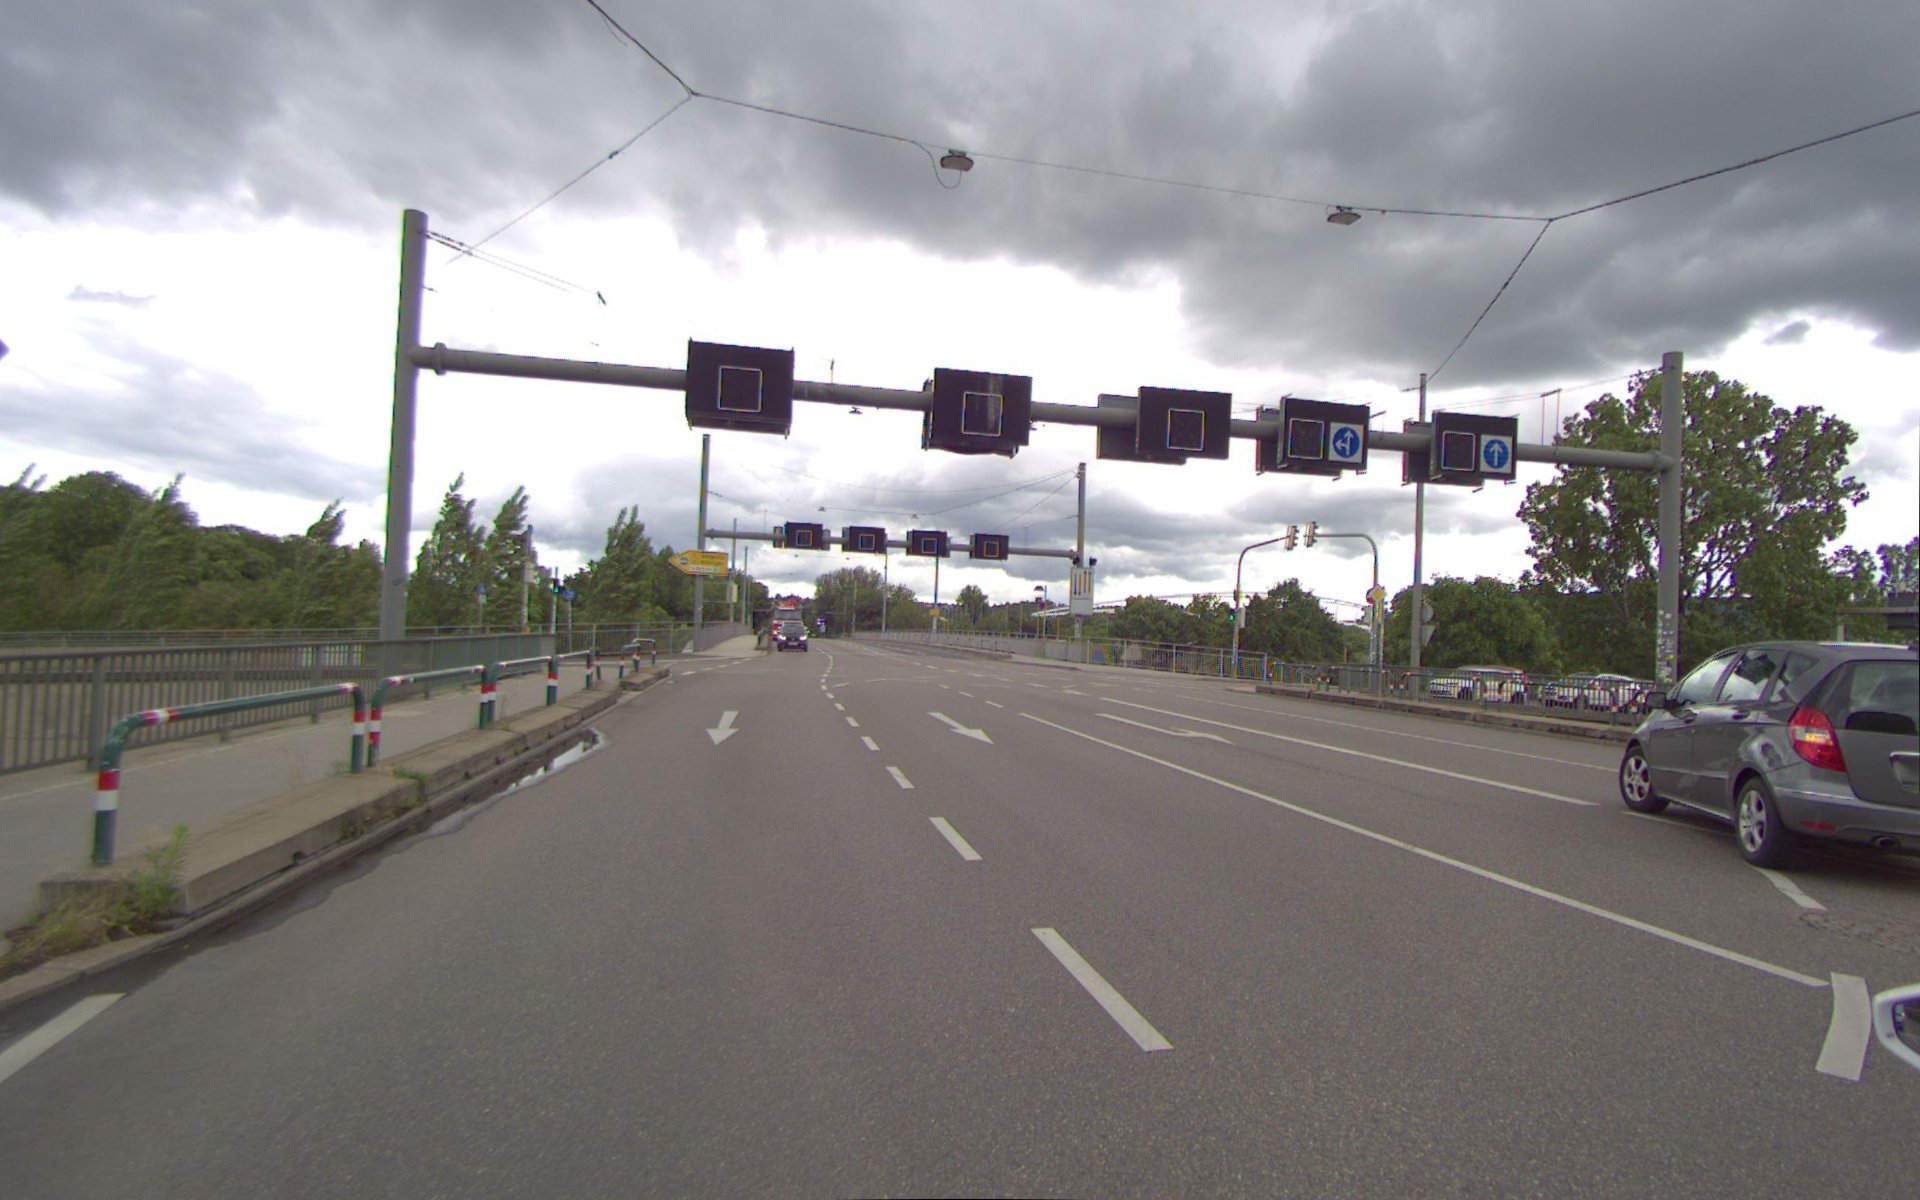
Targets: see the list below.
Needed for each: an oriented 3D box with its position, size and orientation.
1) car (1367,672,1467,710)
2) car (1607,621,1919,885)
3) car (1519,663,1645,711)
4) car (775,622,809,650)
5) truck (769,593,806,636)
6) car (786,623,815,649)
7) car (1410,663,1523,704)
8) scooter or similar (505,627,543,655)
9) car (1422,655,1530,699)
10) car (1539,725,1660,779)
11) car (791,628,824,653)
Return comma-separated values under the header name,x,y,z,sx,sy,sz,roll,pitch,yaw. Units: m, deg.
name,x,y,z,sx,sy,sz,roll,pitch,yaw
car,21.419,4.246,47.096,4.084,1.438,1.691,5,-4,-14
car,6.690,1.088,7.906,1.716,1.570,3.873,3,-3,19
car,25.845,3.594,41.798,4.268,1.640,1.996,5,-4,-12
car,-9.625,2.029,57.537,1.808,1.524,3.865,2,-2,-9
truck,-15.596,1.358,90.130,2.962,3.612,9.962,2,-2,-11
car,-11.602,2.622,73.004,1.853,1.784,4.793,2,-2,-11
car,20.204,3.337,40.122,3.699,1.330,1.788,5,-4,-11
scooter or similar,-16.742,1.578,38.587,1.315,1.070,0.483,0,-1,-19
car,22.172,3.299,43.169,3.941,1.559,1.692,5,-4,-13
car,29.252,6.934,46.017,4.466,2.040,2.208,0,-1,-13
car,-9.807,2.574,64.325,1.809,1.524,4.508,2,-2,-11
